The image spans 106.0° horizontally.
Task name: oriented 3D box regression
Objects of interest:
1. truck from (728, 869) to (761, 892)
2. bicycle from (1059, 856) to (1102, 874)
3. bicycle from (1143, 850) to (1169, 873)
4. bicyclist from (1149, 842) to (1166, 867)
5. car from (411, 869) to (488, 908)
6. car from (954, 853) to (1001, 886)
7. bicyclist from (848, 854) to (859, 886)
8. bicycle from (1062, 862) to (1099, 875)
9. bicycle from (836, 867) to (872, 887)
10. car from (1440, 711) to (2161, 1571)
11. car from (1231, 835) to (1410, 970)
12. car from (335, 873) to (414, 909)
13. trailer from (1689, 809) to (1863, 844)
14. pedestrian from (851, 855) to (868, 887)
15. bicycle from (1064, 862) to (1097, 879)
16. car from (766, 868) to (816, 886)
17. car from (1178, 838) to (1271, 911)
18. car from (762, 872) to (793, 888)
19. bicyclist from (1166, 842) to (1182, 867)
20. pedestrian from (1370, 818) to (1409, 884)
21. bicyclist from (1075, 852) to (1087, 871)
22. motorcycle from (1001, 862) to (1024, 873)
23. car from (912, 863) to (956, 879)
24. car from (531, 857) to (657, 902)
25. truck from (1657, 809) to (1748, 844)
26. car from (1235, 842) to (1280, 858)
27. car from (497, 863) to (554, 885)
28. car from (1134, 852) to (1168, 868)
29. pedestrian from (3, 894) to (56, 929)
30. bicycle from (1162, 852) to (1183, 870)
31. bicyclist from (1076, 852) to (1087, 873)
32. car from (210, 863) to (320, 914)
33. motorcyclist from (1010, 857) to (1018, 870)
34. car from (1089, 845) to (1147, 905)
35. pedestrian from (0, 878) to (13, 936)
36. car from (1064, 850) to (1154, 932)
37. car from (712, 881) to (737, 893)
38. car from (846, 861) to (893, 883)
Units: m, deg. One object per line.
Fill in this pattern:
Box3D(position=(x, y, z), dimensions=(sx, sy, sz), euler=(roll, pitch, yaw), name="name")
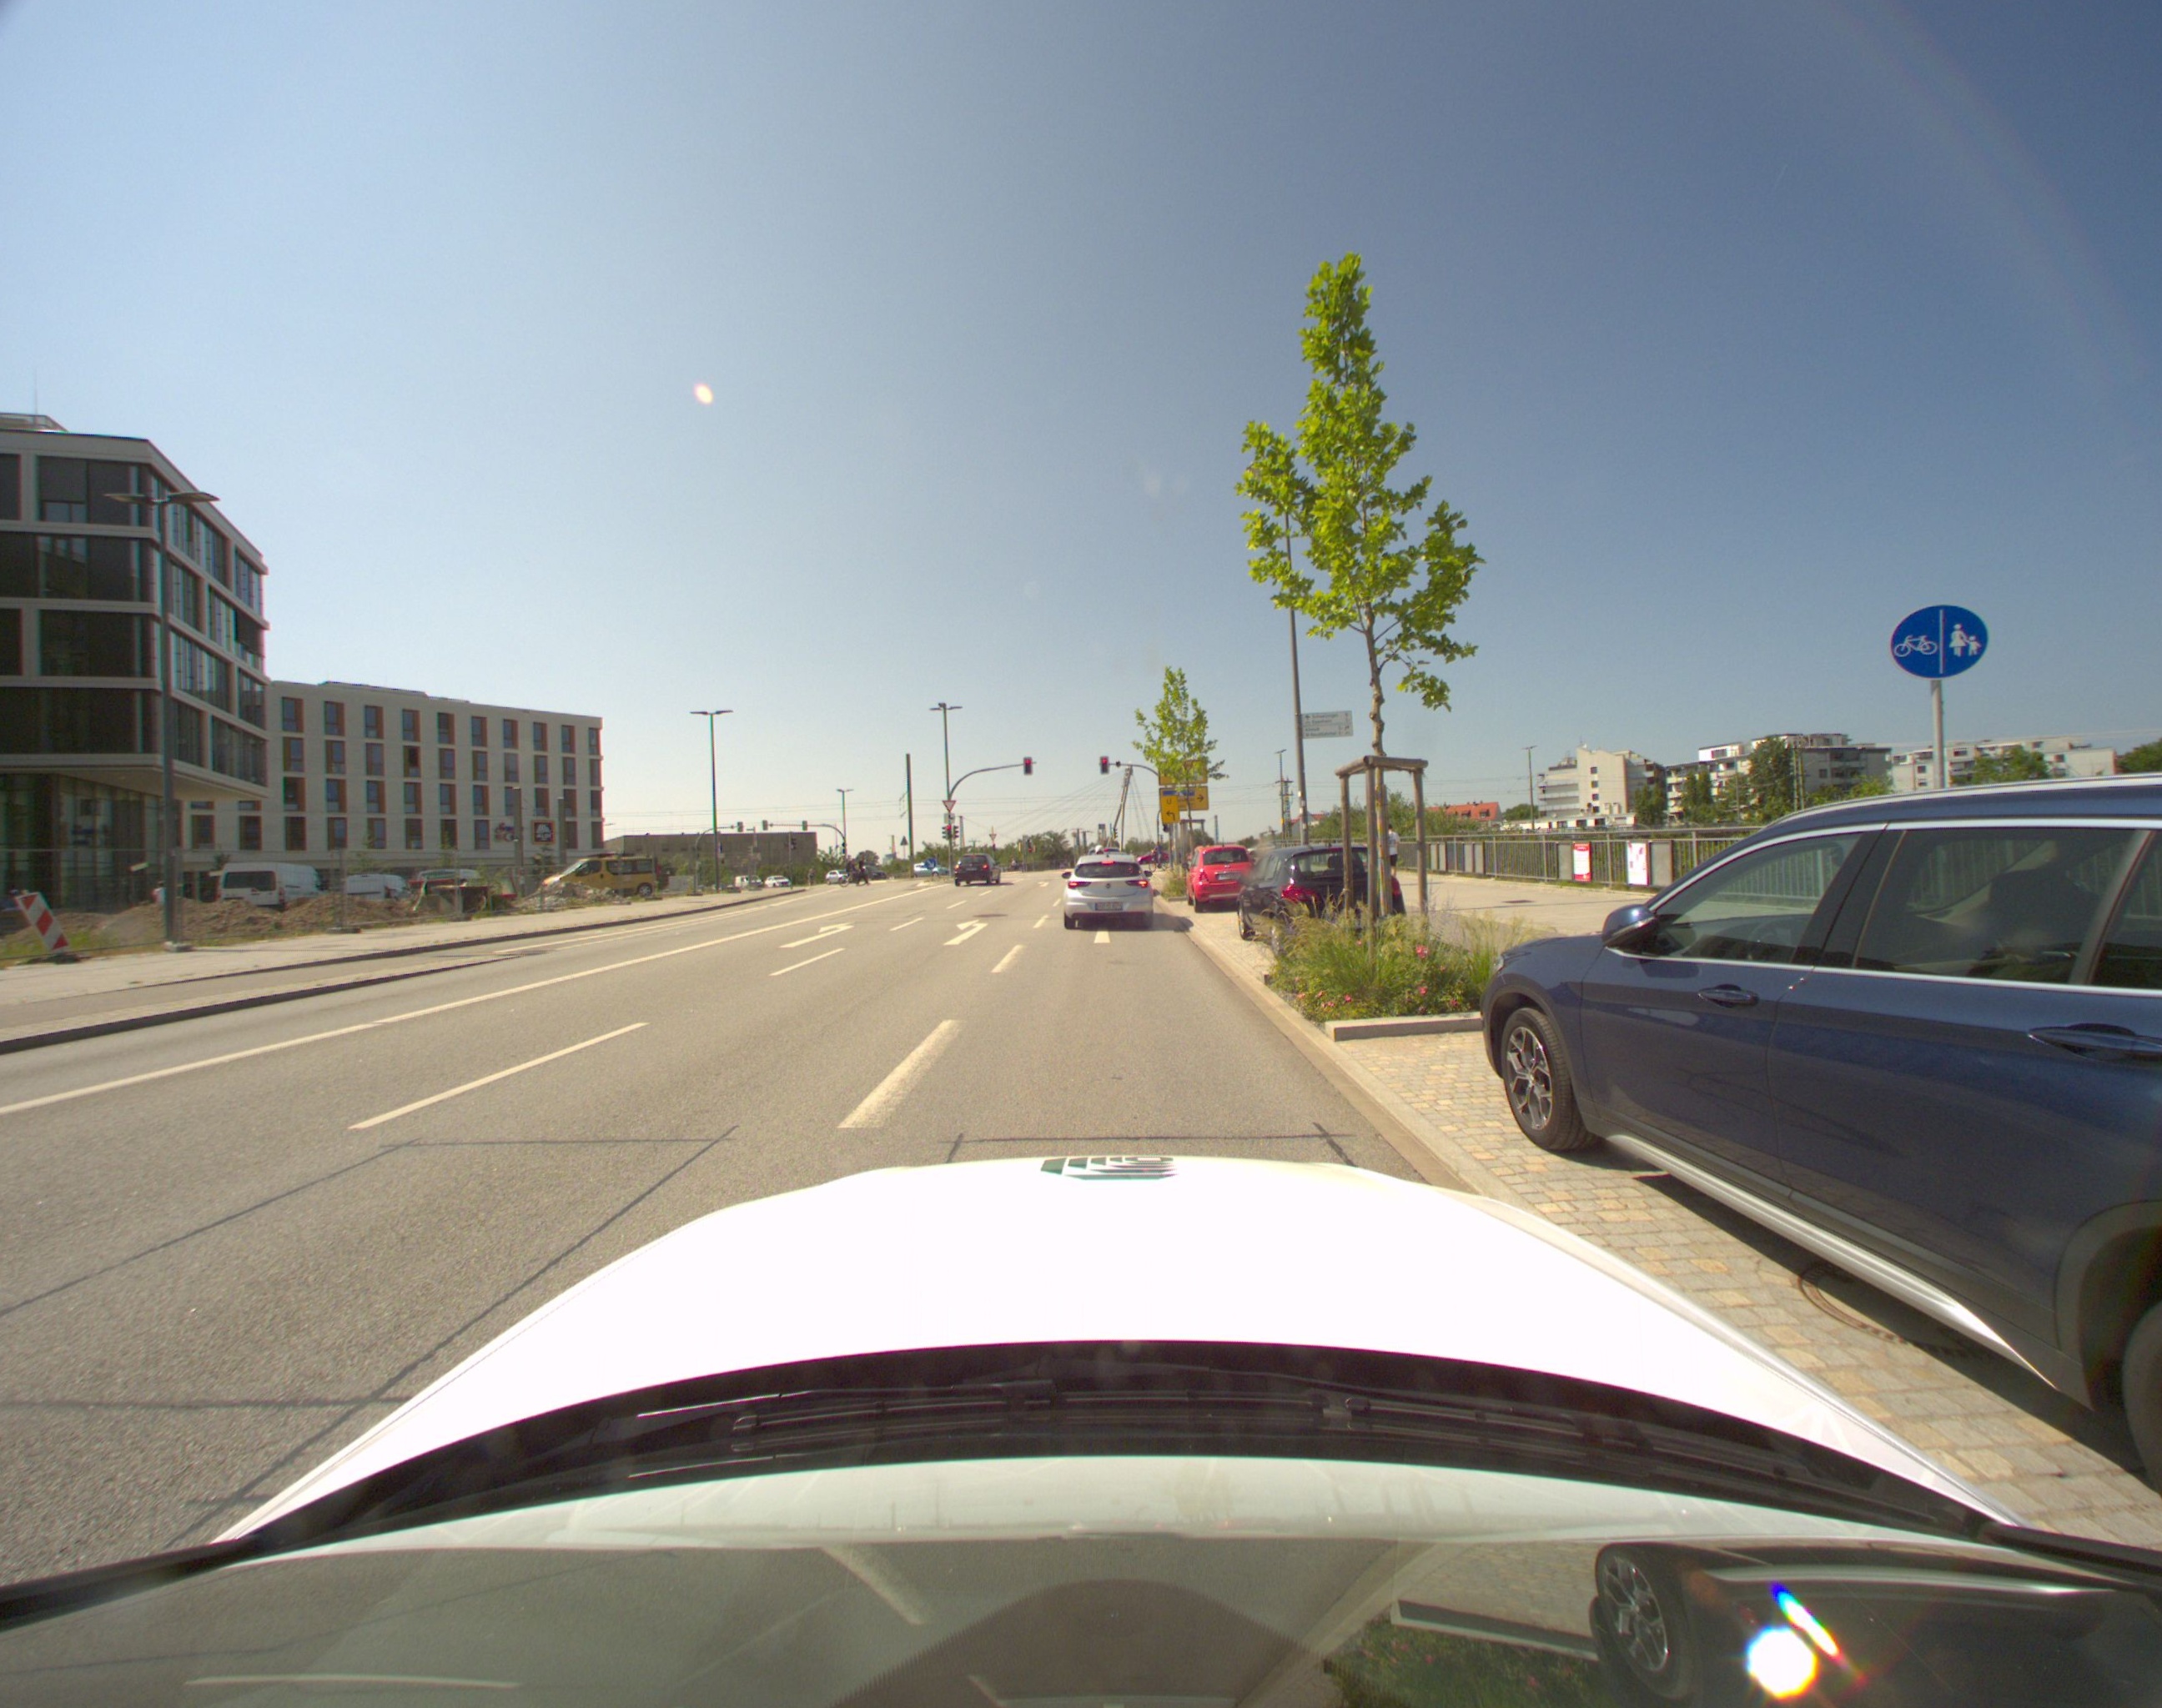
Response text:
Box3D(position=(-38.858, 3.015, 94.015), dimensions=(2.011, 2.540, 4.651), euler=(-1, -1, -44), name="truck")
Box3D(position=(-0.035, 0.680, 48.781), dimensions=(2.494, 1.007, 0.606), euler=(-2, -1, 2), name="bicycle")
Box3D(position=(4.628, 0.449, 50.313), dimensions=(0.719, 1.133, 2.547), euler=(-5, 2, 24), name="bicycle")
Box3D(position=(4.754, 0.049, 50.596), dimensions=(0.852, 1.560, 0.829), euler=(-1, -1, 24), name="bicyclist")
Box3D(position=(-30.424, 1.613, 39.382), dimensions=(2.005, 1.707, 4.521), euler=(0, -1, -26), name="car")
Box3D(position=(-4.699, 0.679, 37.217), dimensions=(1.581, 1.395, 3.341), euler=(-2, -1, 2), name="car")
Box3D(position=(-13.760, 0.954, 49.295), dimensions=(0.594, 1.887, 0.634), euler=(0, -1, -13), name="bicyclist")
Box3D(position=(-0.010, 0.885, 49.586), dimensions=(2.237, 0.692, 0.516), euler=(-2, 0, 2), name="bicycle")
Box3D(position=(-13.741, 1.371, 49.289), dimensions=(2.084, 1.178, 0.553), euler=(0, -1, -14), name="bicycle")
Box3D(position=(3.008, 0.523, 2.667), dimensions=(1.797, 1.683, 4.272), euler=(-4, -1, 2), name="car")
Box3D(position=(3.306, 0.589, 11.912), dimensions=(1.575, 1.555, 3.549), euler=(-5, 0, 2), name="car")
Box3D(position=(-32.829, 1.693, 37.960), dimensions=(1.809, 1.508, 3.965), euler=(0, -1, -26), name="car")
Box3D(position=(69.173, -2.694, 80.994), dimensions=(17.222, 3.204, 3.724), euler=(0, -1, -14), name="trailer")
Box3D(position=(-13.078, 1.008, 48.098), dimensions=(0.737, 1.863, 0.754), euler=(-1, -1, 2), name="pedestrian")
Box3D(position=(-0.058, 1.174, 58.617), dimensions=(2.309, 1.133, 0.637), euler=(-2, -1, 2), name="bicycle")
Box3D(position=(-27.062, 2.143, 76.085), dimensions=(3.954, 1.551, 1.679), euler=(-3, -1, 6), name="car")
Box3D(position=(3.464, 0.474, 20.333), dimensions=(1.663, 1.540, 3.918), euler=(-4, -1, 2), name="car")
Box3D(position=(-35.920, 3.061, 96.268), dimensions=(3.996, 1.815, 1.943), euler=(-1, -1, 45), name="car")
Box3D(position=(6.067, 0.041, 53.237), dimensions=(0.813, 1.569, 0.953), euler=(-1, -1, 23), name="bicyclist")
Box3D(position=(8.735, -0.073, 23.076), dimensions=(0.755, 1.830, 0.885), euler=(-1, -1, 2), name="pedestrian")
Box3D(position=(0.004, 0.461, 49.586), dimensions=(0.654, 1.175, 0.731), euler=(-1, -1, 3), name="bicyclist")
Box3D(position=(-7.888, 1.575, 94.024), dimensions=(2.527, 1.233, 0.648), euler=(-1, -1, 1), name="motorcycle")
Box3D(position=(-13.837, 1.614, 76.537), dimensions=(3.758, 1.362, 1.540), euler=(-3, 0, 20), name="car")
Box3D(position=(-22.014, 1.095, 36.927), dimensions=(1.974, 1.890, 4.514), euler=(-1, -1, 40), name="car")
Box3D(position=(60.126, -2.627, 78.817), dimensions=(6.477, 3.204, 3.722), euler=(0, -1, -13), name="truck")
Box3D(position=(18.885, -0.401, 87.012), dimensions=(4.253, 1.673, 1.990), euler=(-1, 0, -15), name="car")
Box3D(position=(-52.737, 1.918, 77.409), dimensions=(3.989, 2.014, 1.992), euler=(0, -1, -12), name="car")
Box3D(position=(7.495, 0.631, 87.095), dimensions=(3.377, 1.655, 1.643), euler=(0, -1, -7), name="car")
Box3D(position=(-42.716, 2.319, 33.099), dimensions=(0.737, 1.372, 1.121), euler=(-1, -1, 15), name="pedestrian")
Box3D(position=(5.964, 0.435, 53.000), dimensions=(0.669, 1.127, 2.378), euler=(-1, -1, 23), name="bicycle")
Box3D(position=(0.060, 0.638, 58.637), dimensions=(0.715, 1.504, 0.825), euler=(-1, -1, 3), name="bicyclist")
Box3D(position=(-35.630, 1.443, 35.715), dimensions=(2.220, 2.056, 4.134), euler=(0, -1, -28), name="car")
Box3D(position=(-7.739, 1.146, 94.023), dimensions=(0.806, 1.476, 0.885), euler=(-1, -1, 2), name="motorcyclist")
Box3D(position=(1.094, 0.611, 24.641), dimensions=(1.628, 1.674, 3.746), euler=(0, -1, 2), name="car")
Box3D(position=(-38.534, 1.866, 28.595), dimensions=(0.933, 2.014, 0.969), euler=(-1, -1, 15), name="pedestrian")
Box3D(position=(0.607, 0.707, 17.692), dimensions=(1.684, 1.520, 4.272), euler=(-1, 0, 2), name="car")
Box3D(position=(-42.843, 3.956, 97.819), dimensions=(1.674, 1.389, 3.743), euler=(0, -1, -40), name="car")
Box3D(position=(-19.540, 1.658, 75.362), dimensions=(3.730, 1.582, 1.817), euler=(-3, 5, 4), name="car")
